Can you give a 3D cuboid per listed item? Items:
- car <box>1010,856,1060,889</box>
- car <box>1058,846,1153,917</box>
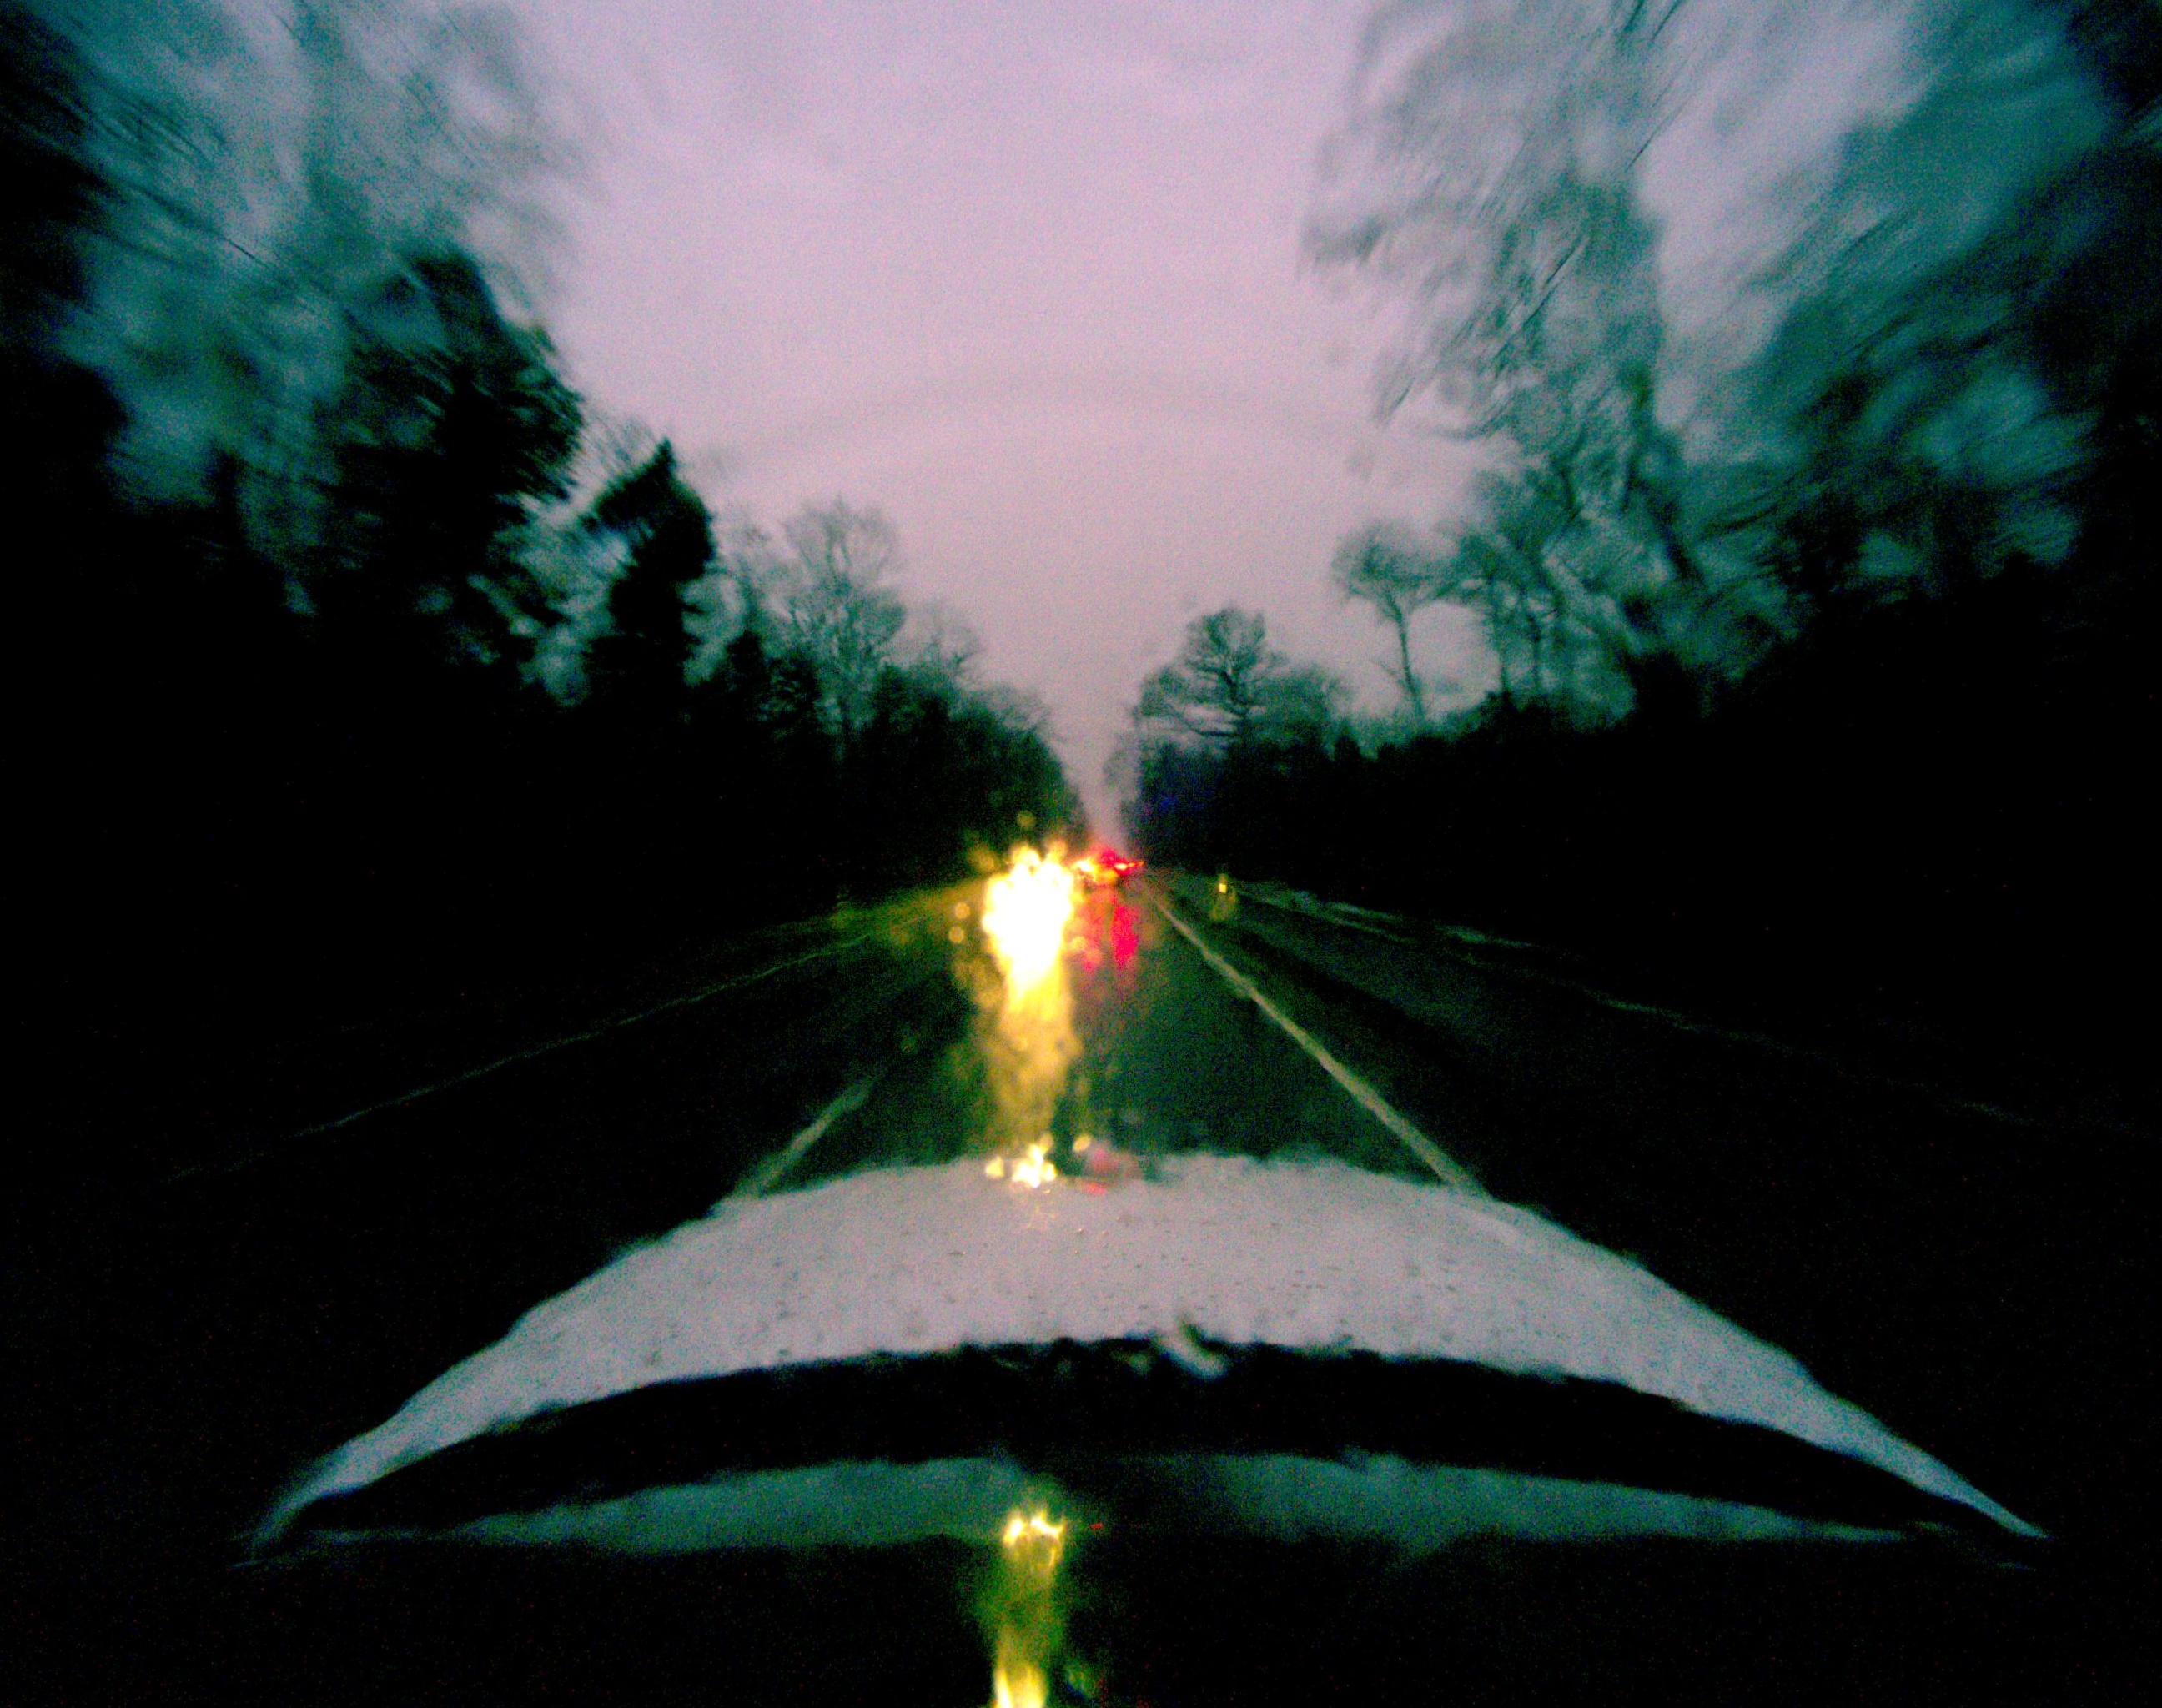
[{"bbox_3d":[-2.383,0.944,43.661,1.966,1.568,4.932,-3,0,4],"label":"car"},{"bbox_3d":[0.992,0.947,30.776,3.170,2.387,6.640,0,-1,3],"label":"car"}]
